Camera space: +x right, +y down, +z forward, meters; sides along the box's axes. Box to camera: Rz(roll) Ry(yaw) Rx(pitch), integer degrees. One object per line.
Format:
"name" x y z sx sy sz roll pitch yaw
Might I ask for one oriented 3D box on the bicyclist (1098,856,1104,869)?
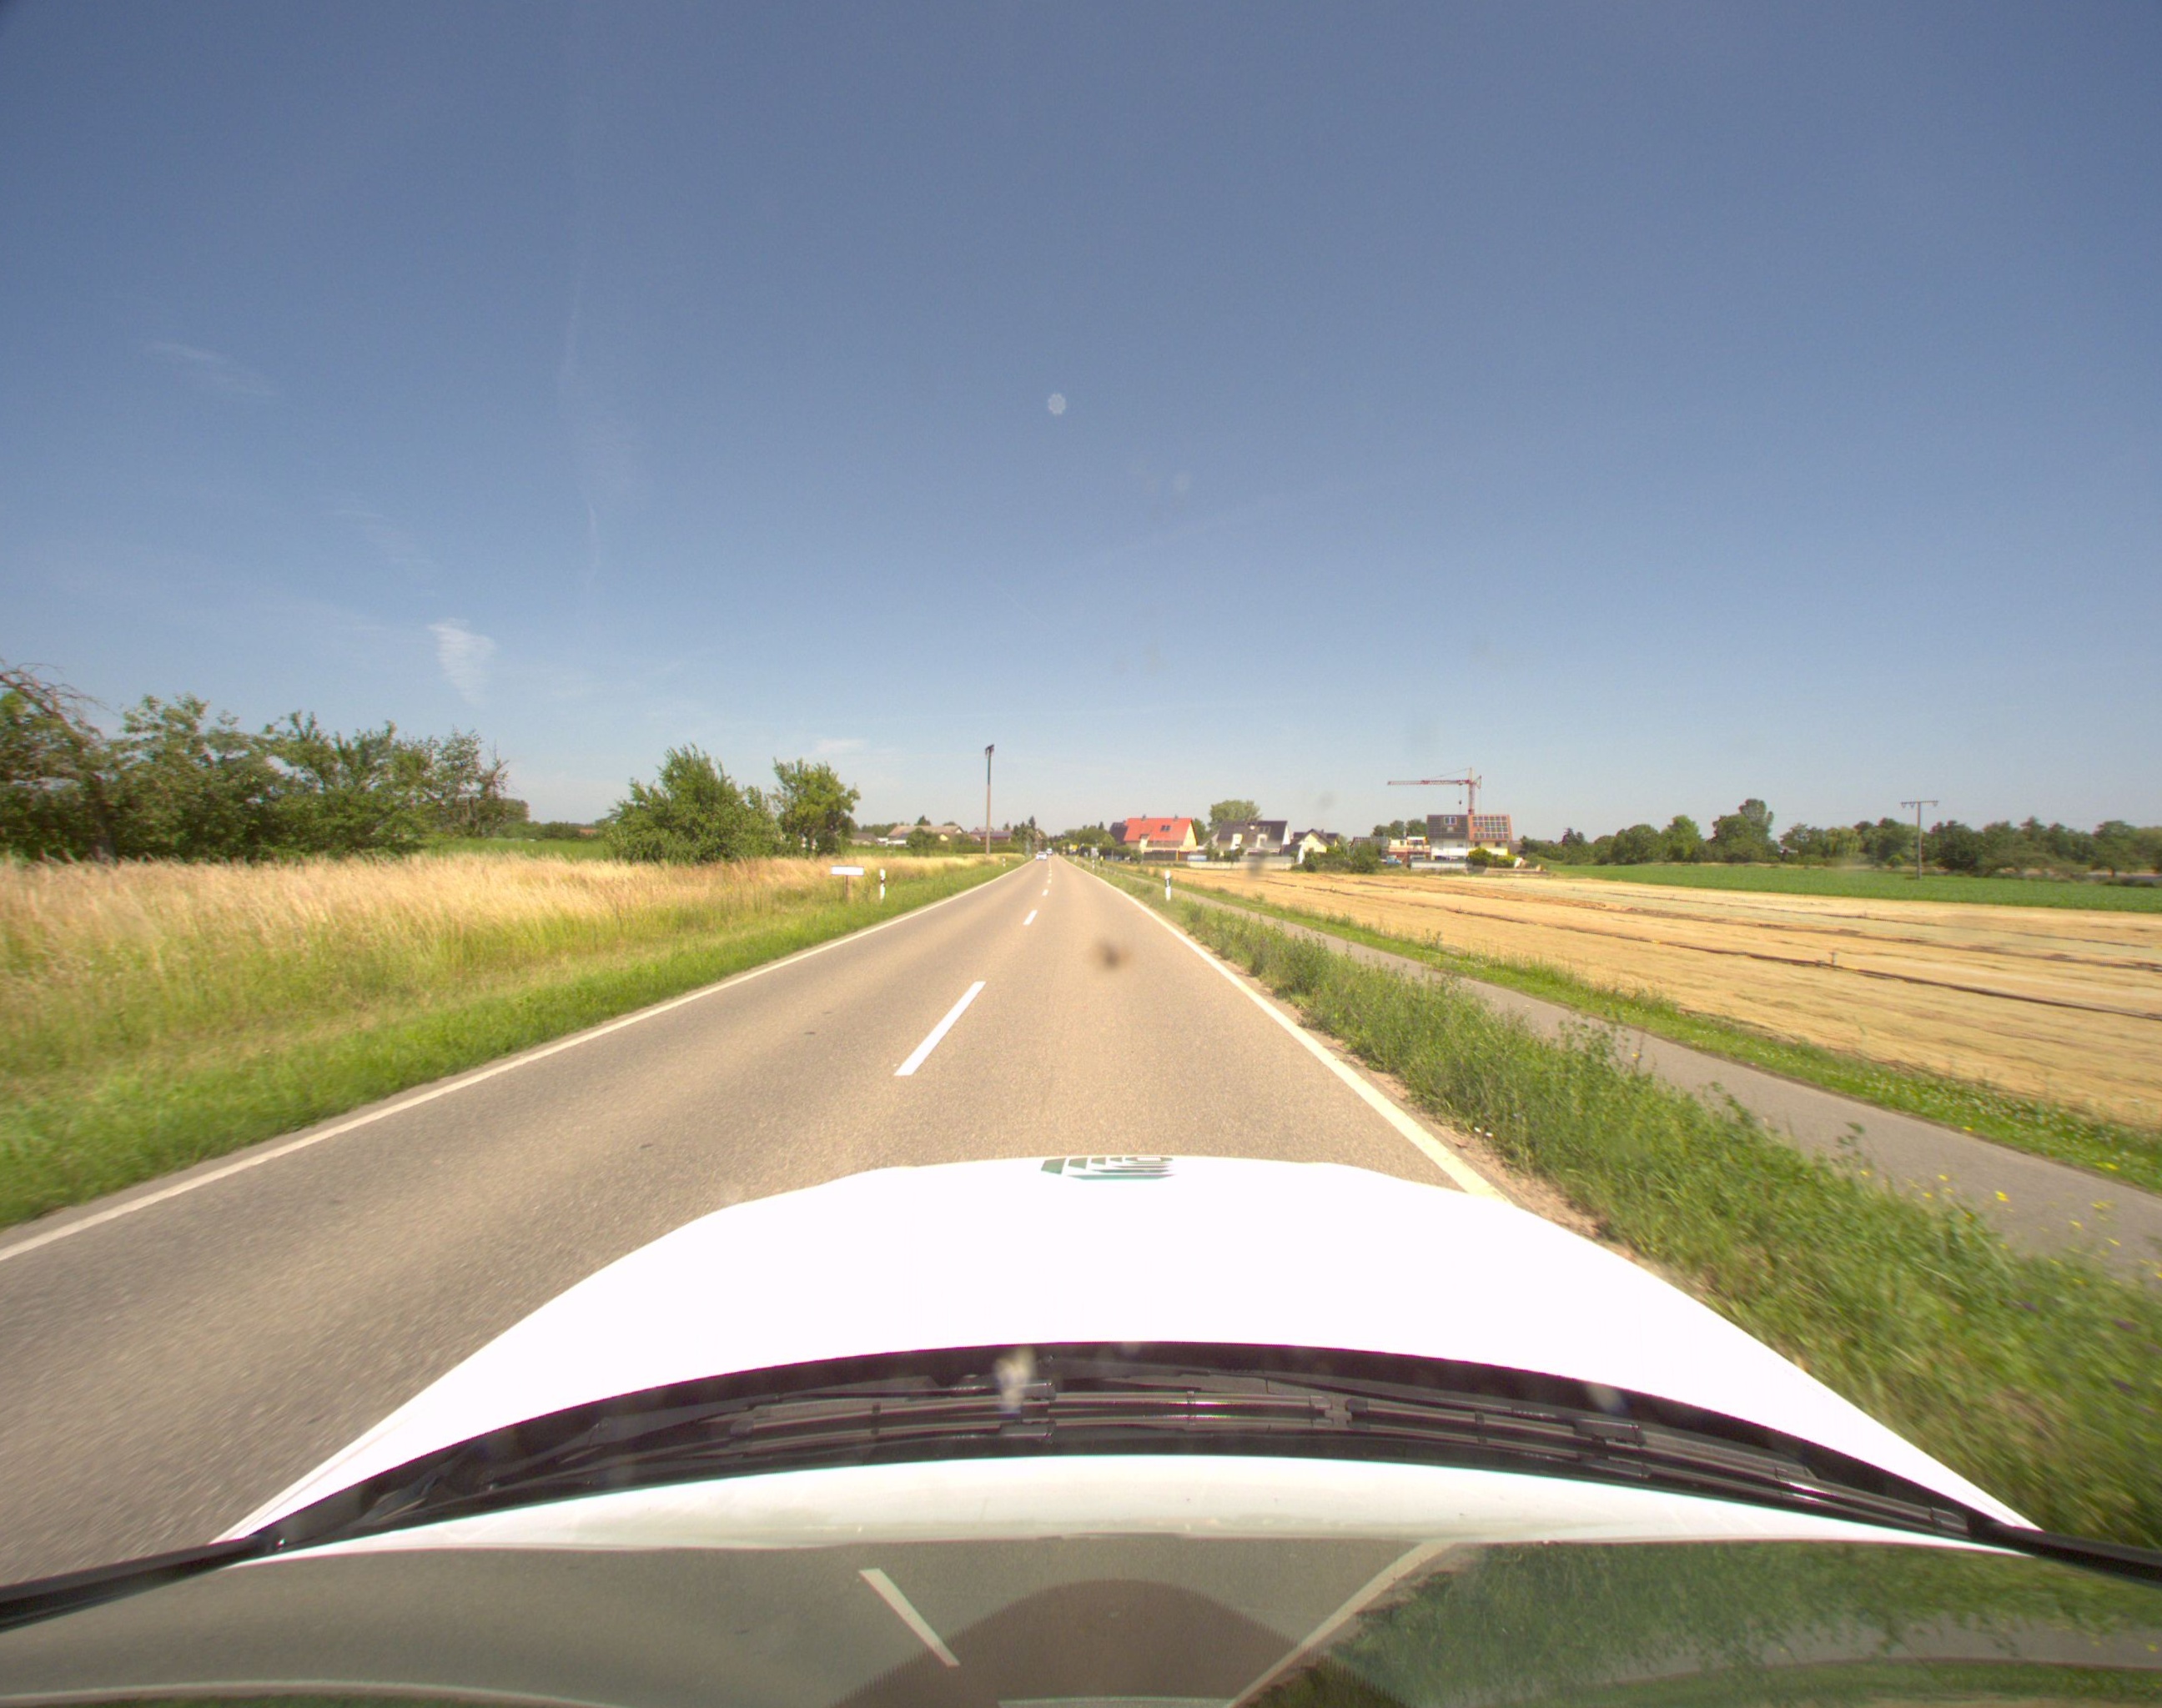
"bicyclist" 2.878 1.206 116.401 0.643 1.889 0.860 2 1 -3

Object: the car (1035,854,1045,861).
"car" -7.292 0.621 146.514 1.787 1.409 4.182 0 0 -2

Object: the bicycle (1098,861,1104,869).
"bicycle" 2.860 1.566 116.436 0.609 1.158 2.272 2 1 -3
